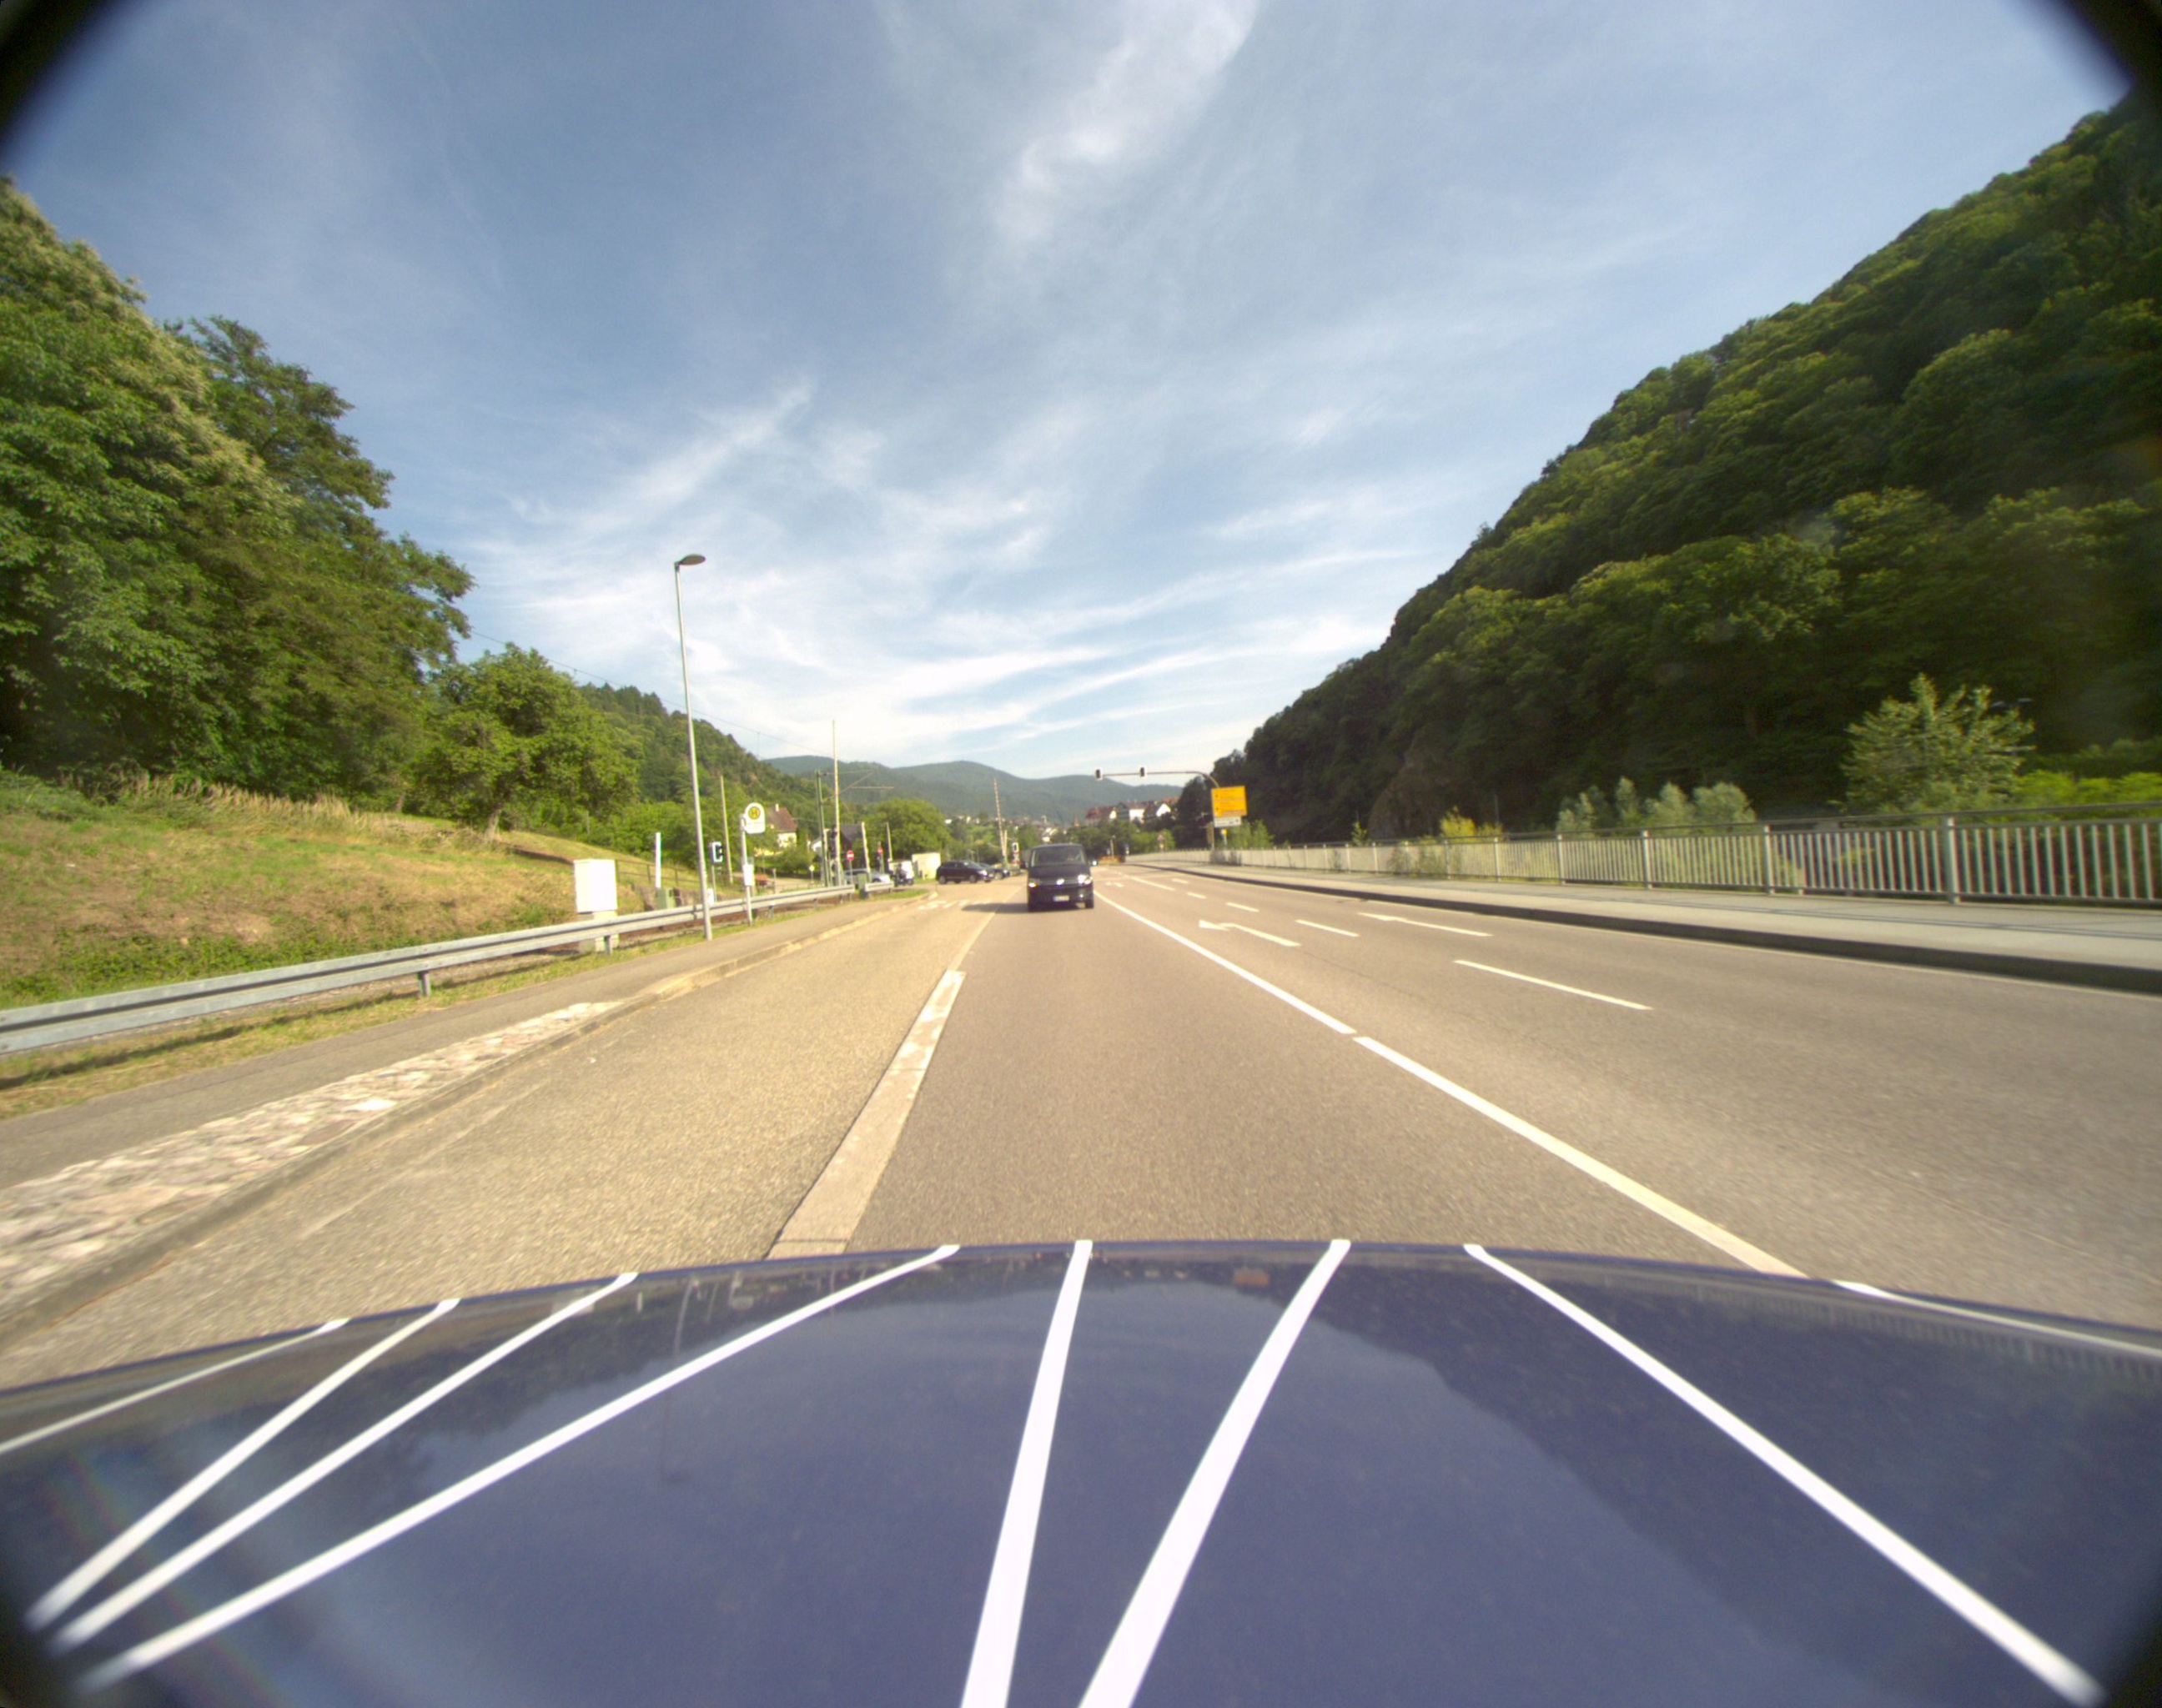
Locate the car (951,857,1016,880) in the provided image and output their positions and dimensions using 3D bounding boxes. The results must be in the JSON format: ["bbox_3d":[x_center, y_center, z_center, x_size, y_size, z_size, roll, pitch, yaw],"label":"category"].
[{"bbox_3d":[-7.657,1.115,59.787,4.738,1.461,1.842,-3,1,1],"label":"car"}]

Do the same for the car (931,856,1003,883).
[{"bbox_3d":[-8.050,1.101,53.507,4.730,1.650,1.934,-3,0,30],"label":"car"}]

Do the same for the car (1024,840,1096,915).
[{"bbox_3d":[-0.681,0.644,23.159,1.866,1.936,4.637,-3,0,-3],"label":"car"}]

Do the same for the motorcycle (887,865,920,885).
[{"bbox_3d":[-12.996,1.542,55.672,2.096,1.247,0.800,-5,1,17],"label":"motorcycle"}]

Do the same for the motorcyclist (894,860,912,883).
[{"bbox_3d":[-13.033,1.306,55.681,0.908,1.587,0.766,-5,1,16],"label":"motorcyclist"}]

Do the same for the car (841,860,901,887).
[{"bbox_3d":[-16.669,1.547,60.388,4.120,1.677,1.836,-5,0,12],"label":"car"}]
